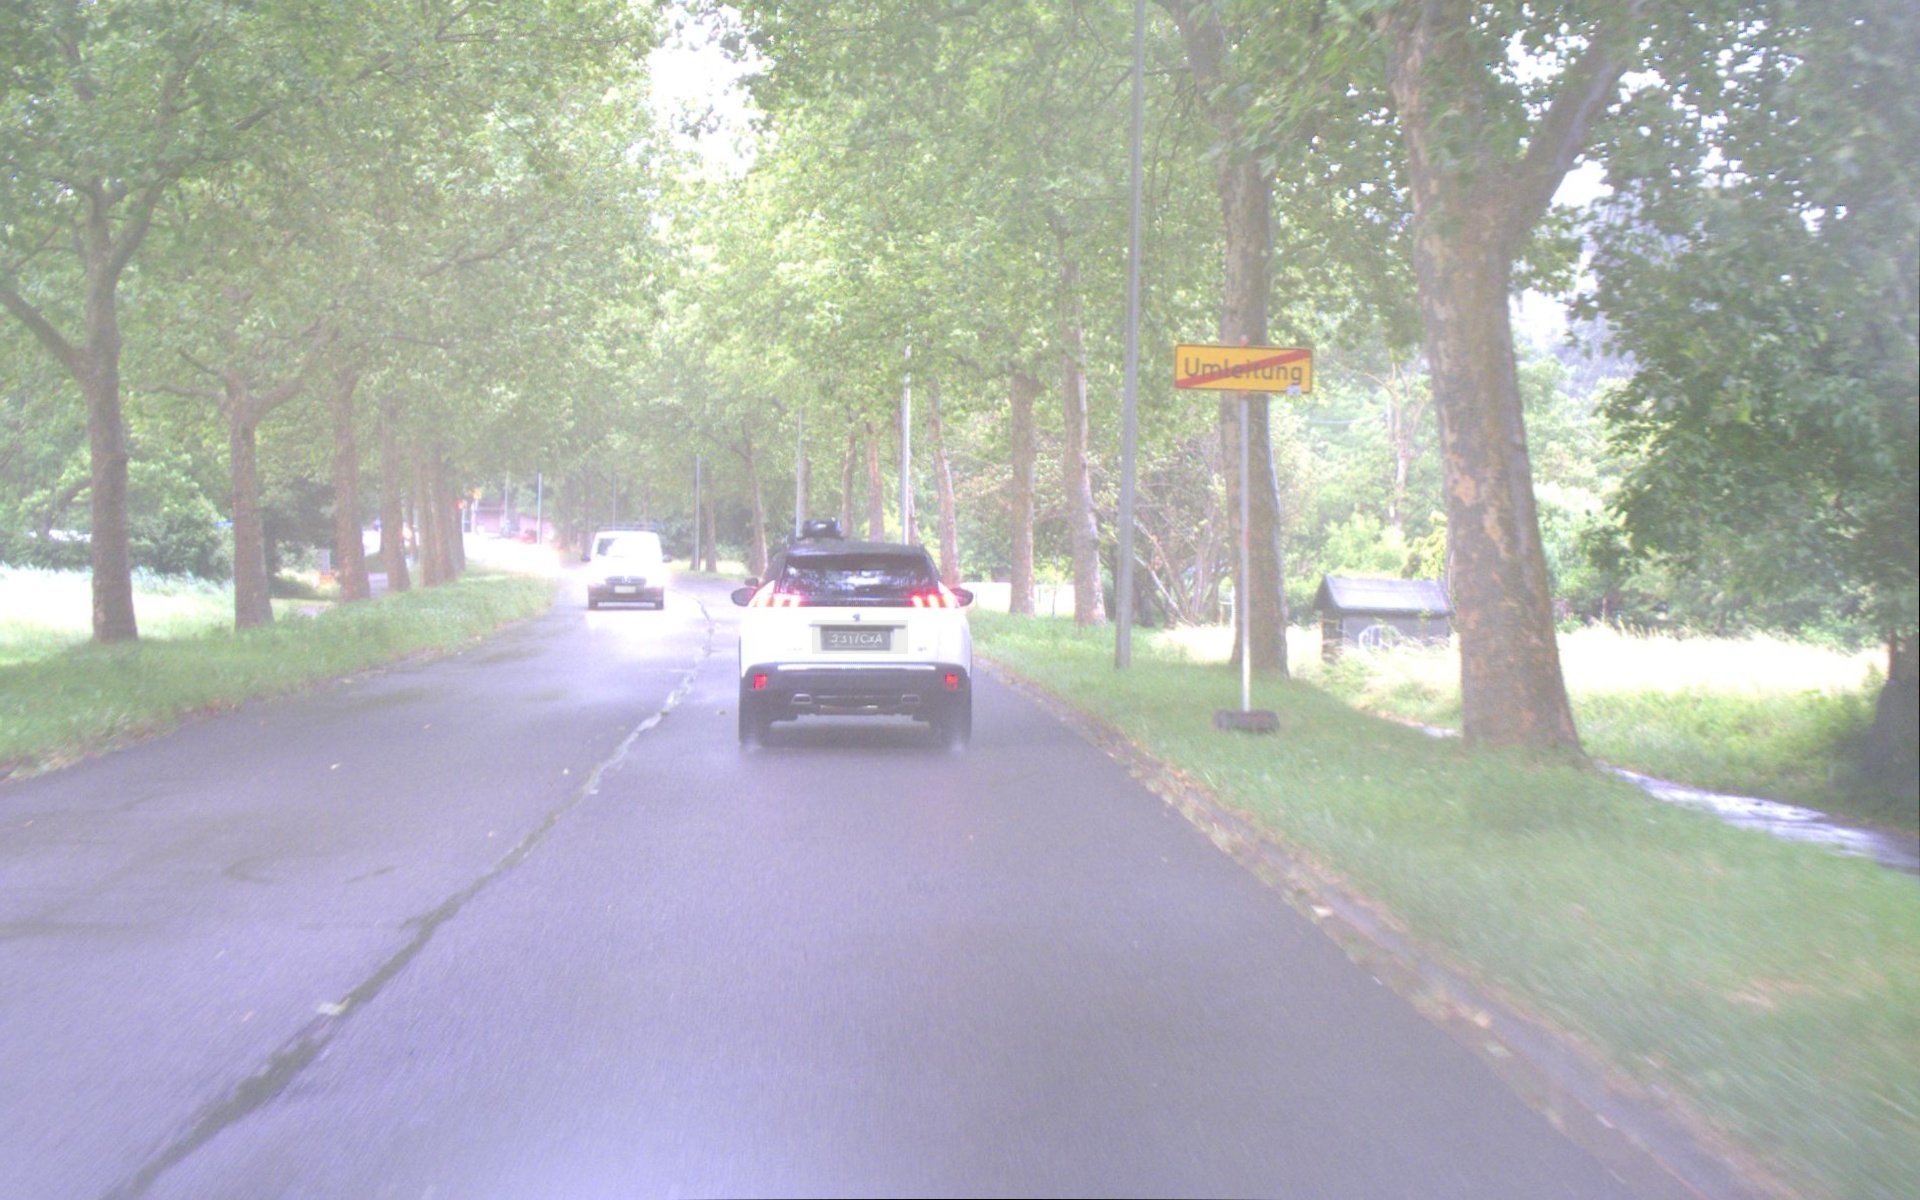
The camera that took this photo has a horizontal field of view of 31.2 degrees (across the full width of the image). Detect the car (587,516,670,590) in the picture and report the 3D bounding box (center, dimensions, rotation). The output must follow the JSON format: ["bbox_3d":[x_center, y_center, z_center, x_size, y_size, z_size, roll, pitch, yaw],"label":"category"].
[{"bbox_3d":[-8.251,-1.180,85.884,1.862,1.744,5.016,1,1,-4],"label":"car"}]

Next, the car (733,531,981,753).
[{"bbox_3d":[-0.749,0.270,27.168,1.794,1.573,3.844,1,1,0],"label":"car"}]

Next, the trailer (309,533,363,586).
[{"bbox_3d":[-31.210,-2.029,172.103,2.484,2.558,5.334,1,1,-9],"label":"trailer"}]
